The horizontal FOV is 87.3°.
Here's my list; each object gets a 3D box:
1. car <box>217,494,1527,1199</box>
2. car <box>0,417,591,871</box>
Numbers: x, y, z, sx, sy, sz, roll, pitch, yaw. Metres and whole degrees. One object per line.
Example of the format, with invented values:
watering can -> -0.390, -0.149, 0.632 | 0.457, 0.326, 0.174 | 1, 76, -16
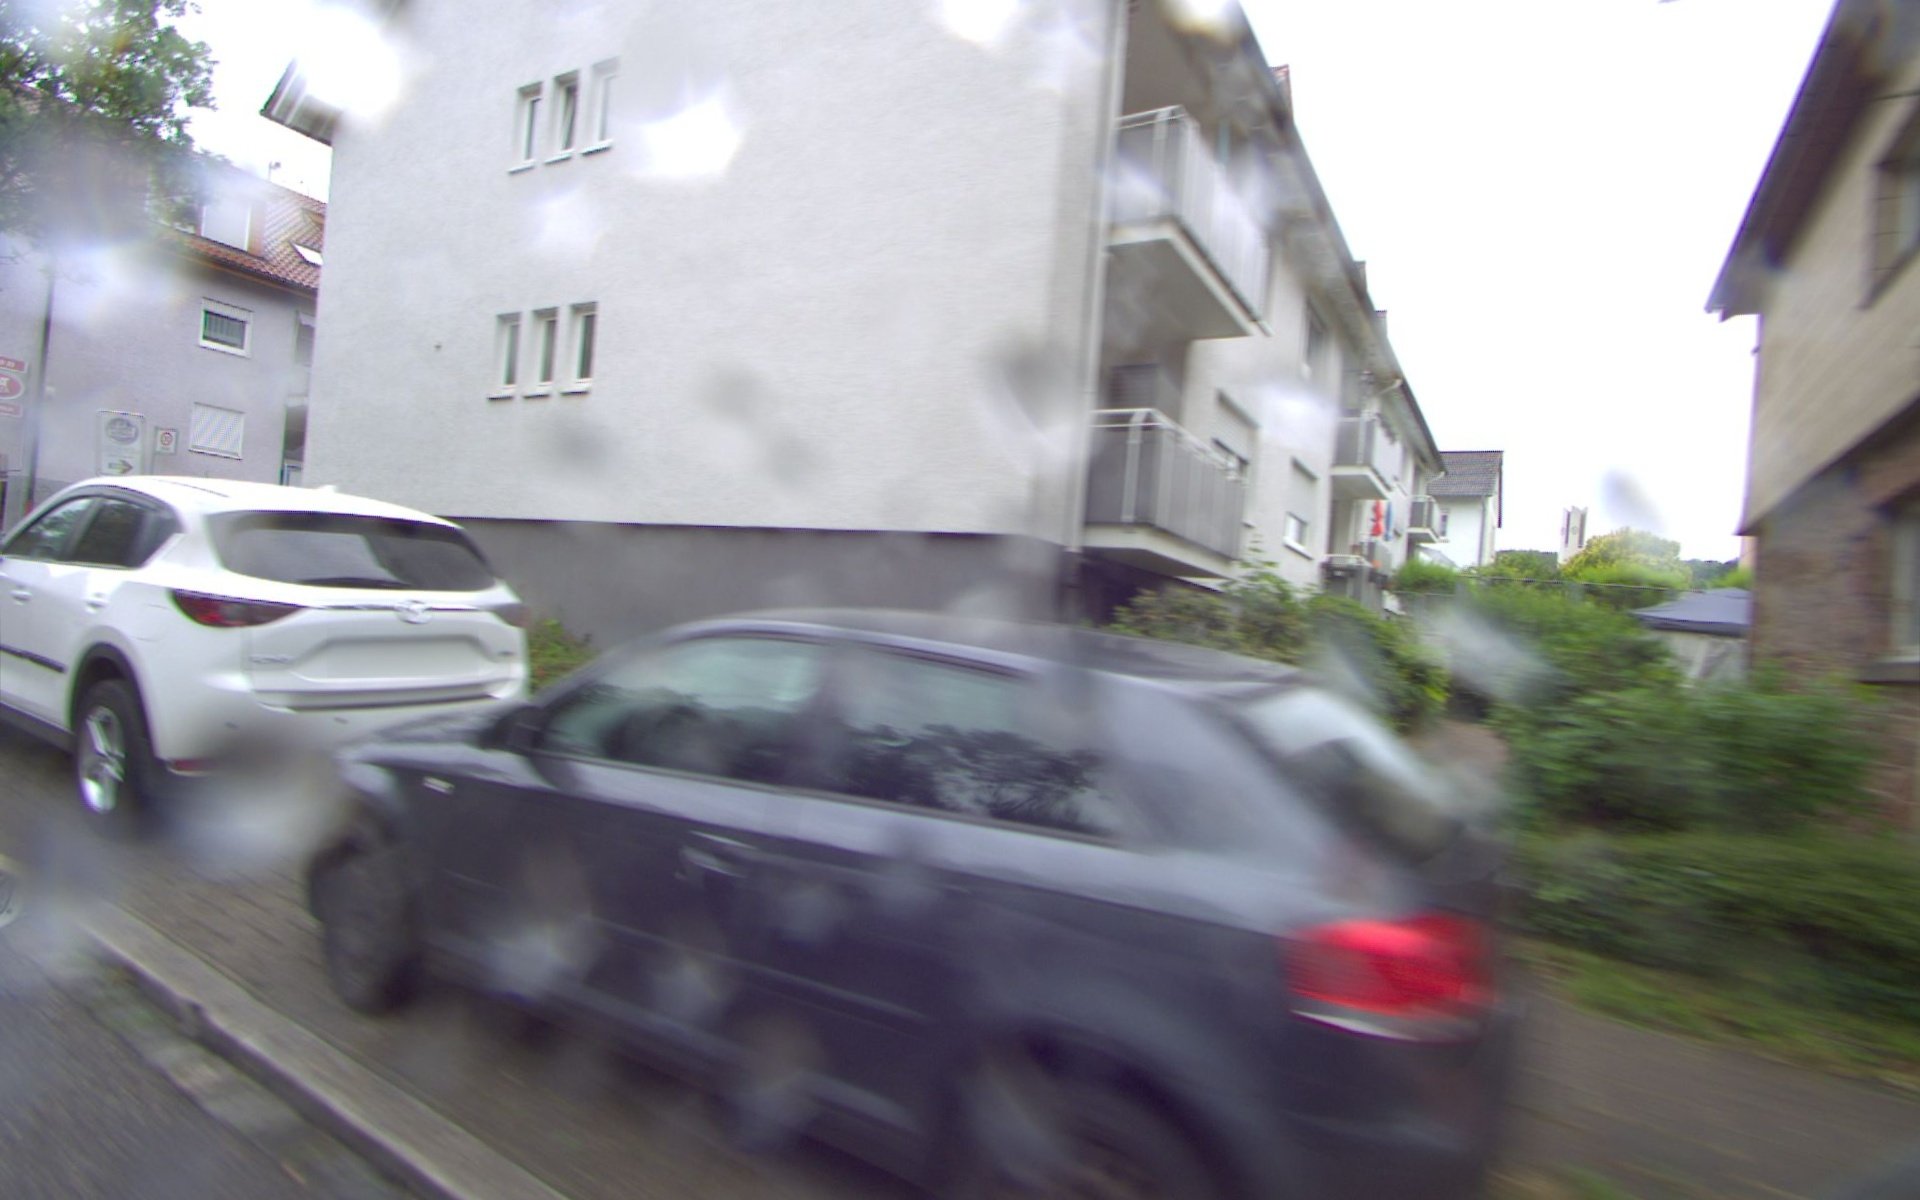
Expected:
car -> -0.479, 0.597, 3.289 | 3.931, 1.466, 1.644 | 6, 0, 30
car -> -4.456, 0.010, 5.960 | 4.466, 1.795, 1.825 | 7, 1, 33
